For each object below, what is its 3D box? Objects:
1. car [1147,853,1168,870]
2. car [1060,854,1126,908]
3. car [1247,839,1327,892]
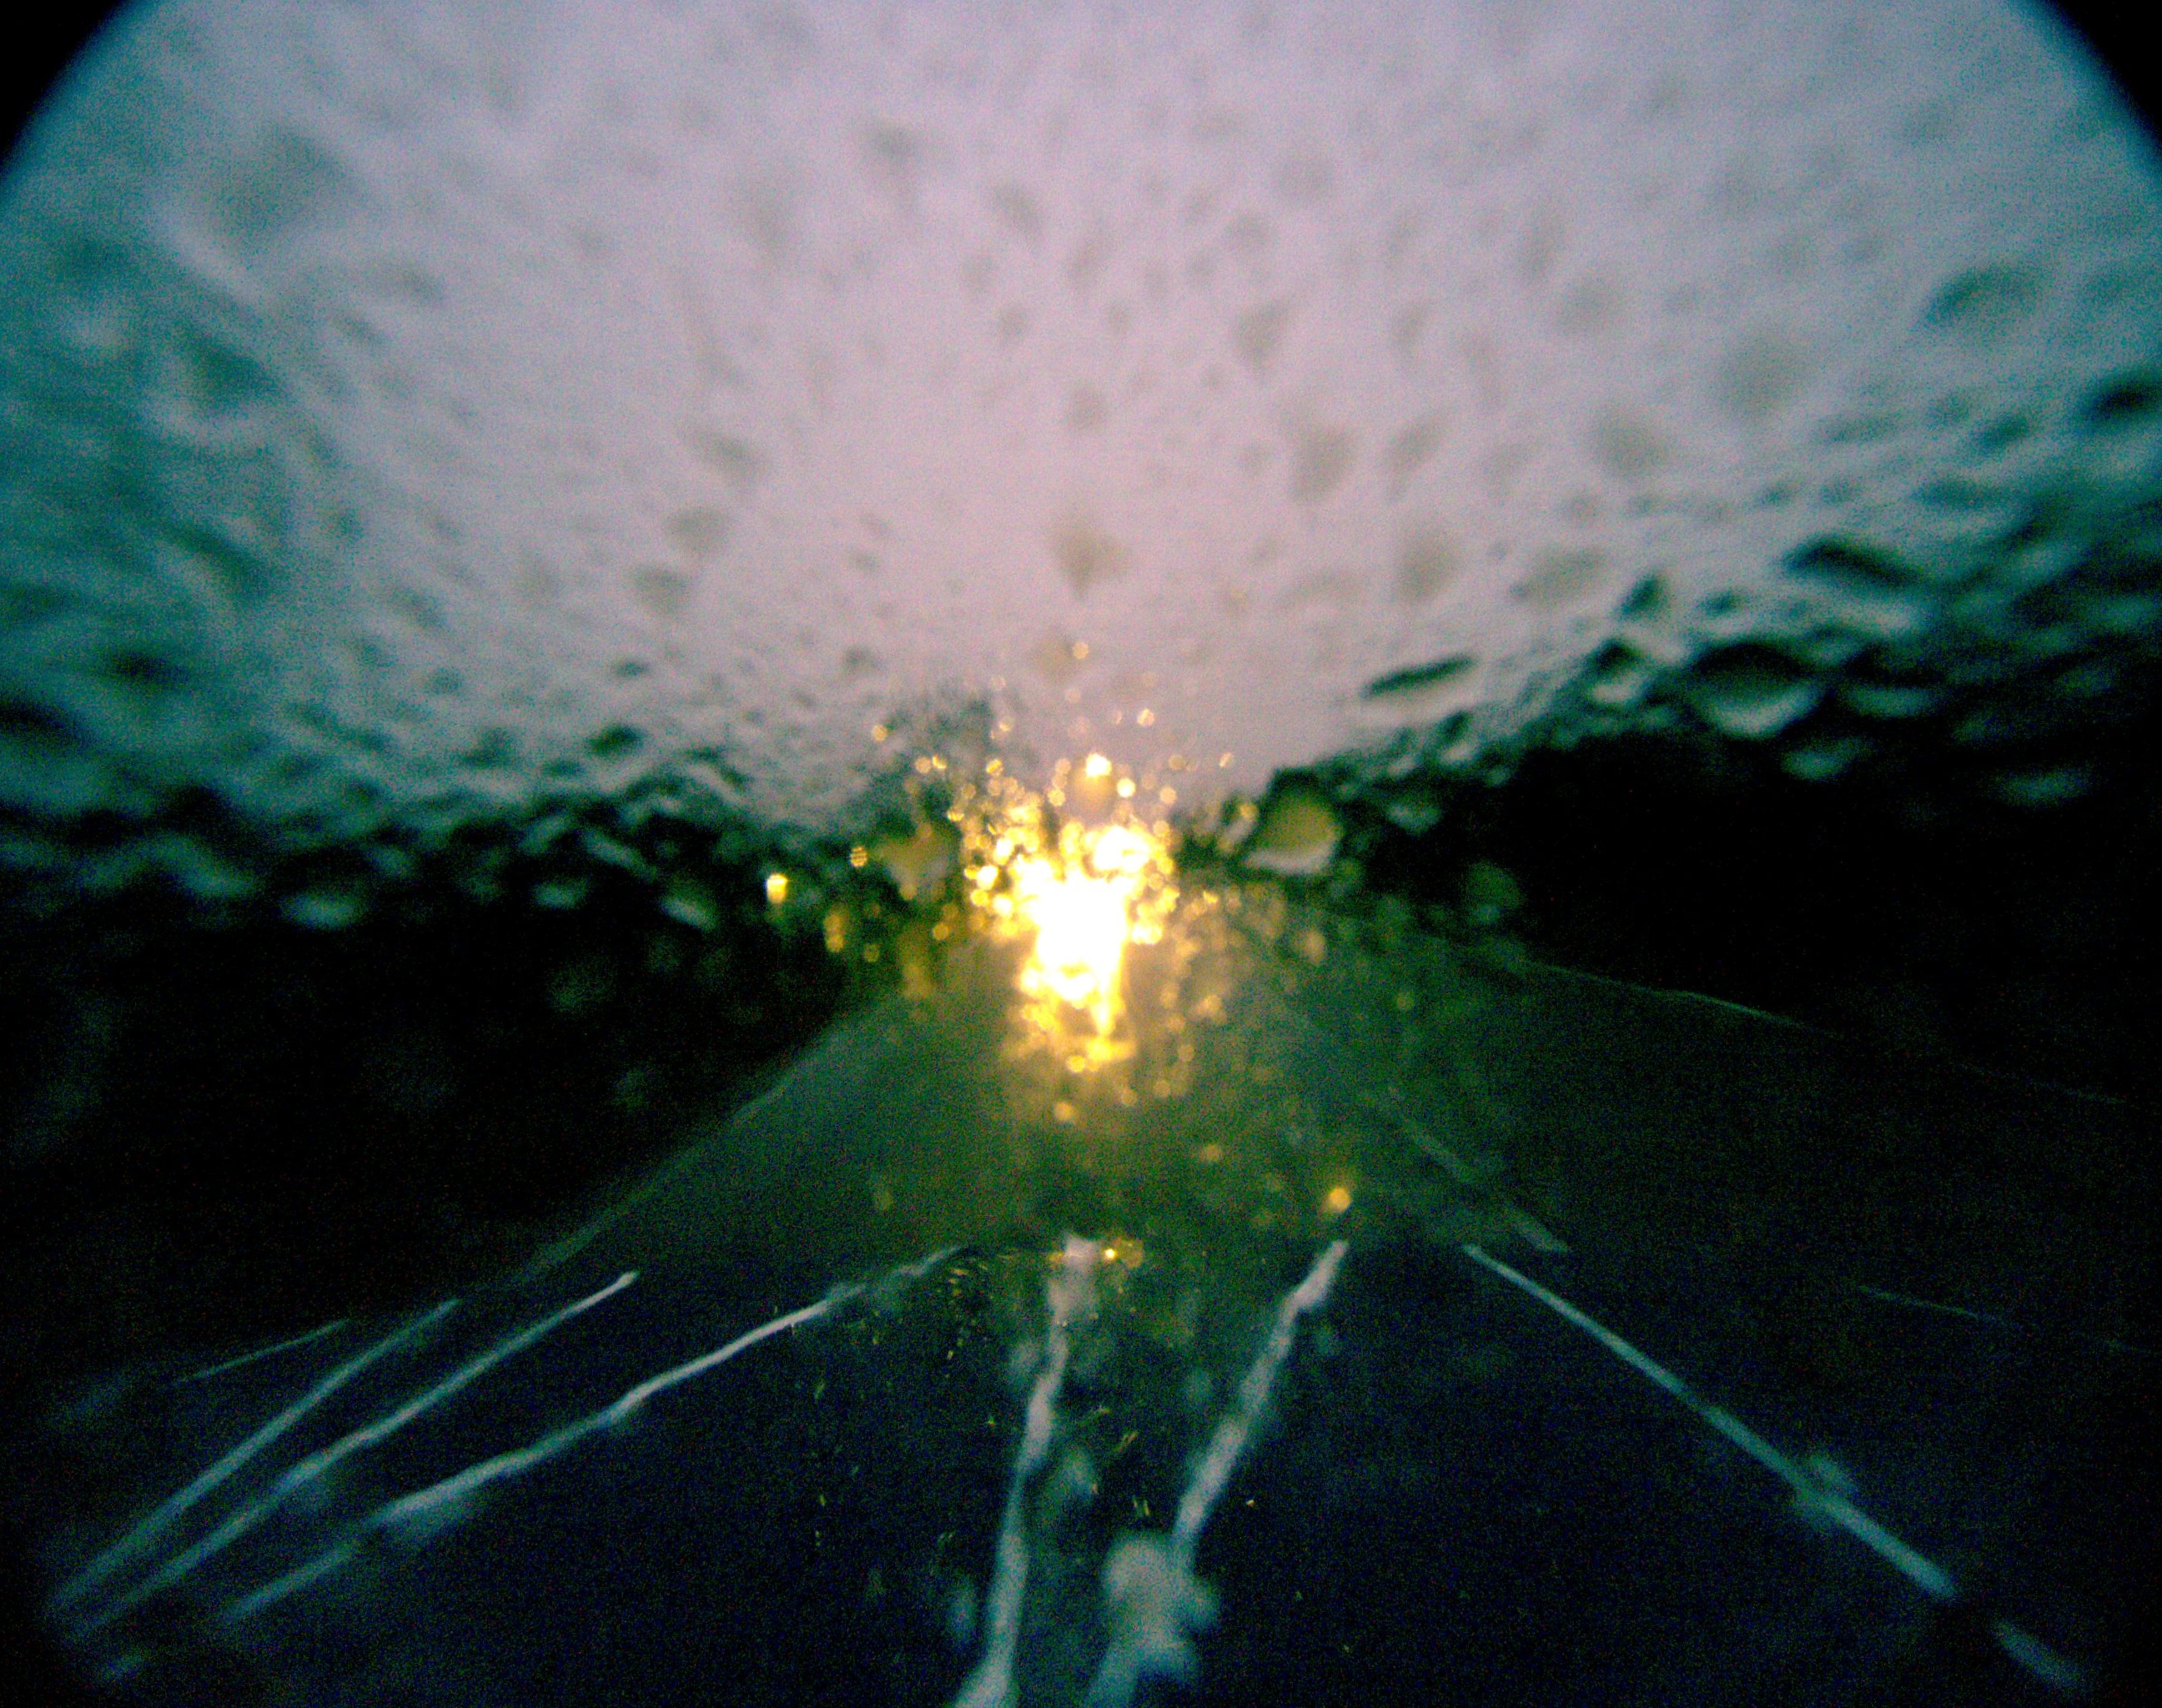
[{"bbox_3d":[7.658,0.729,76.292,1.780,1.599,3.773,-1,1,2],"label":"car"},{"bbox_3d":[0.494,0.878,26.330,1.998,1.601,4.001,-3,0,4],"label":"car"},{"bbox_3d":[7.701,0.391,28.778,1.998,1.774,4.000,-3,0,2],"label":"car"}]
